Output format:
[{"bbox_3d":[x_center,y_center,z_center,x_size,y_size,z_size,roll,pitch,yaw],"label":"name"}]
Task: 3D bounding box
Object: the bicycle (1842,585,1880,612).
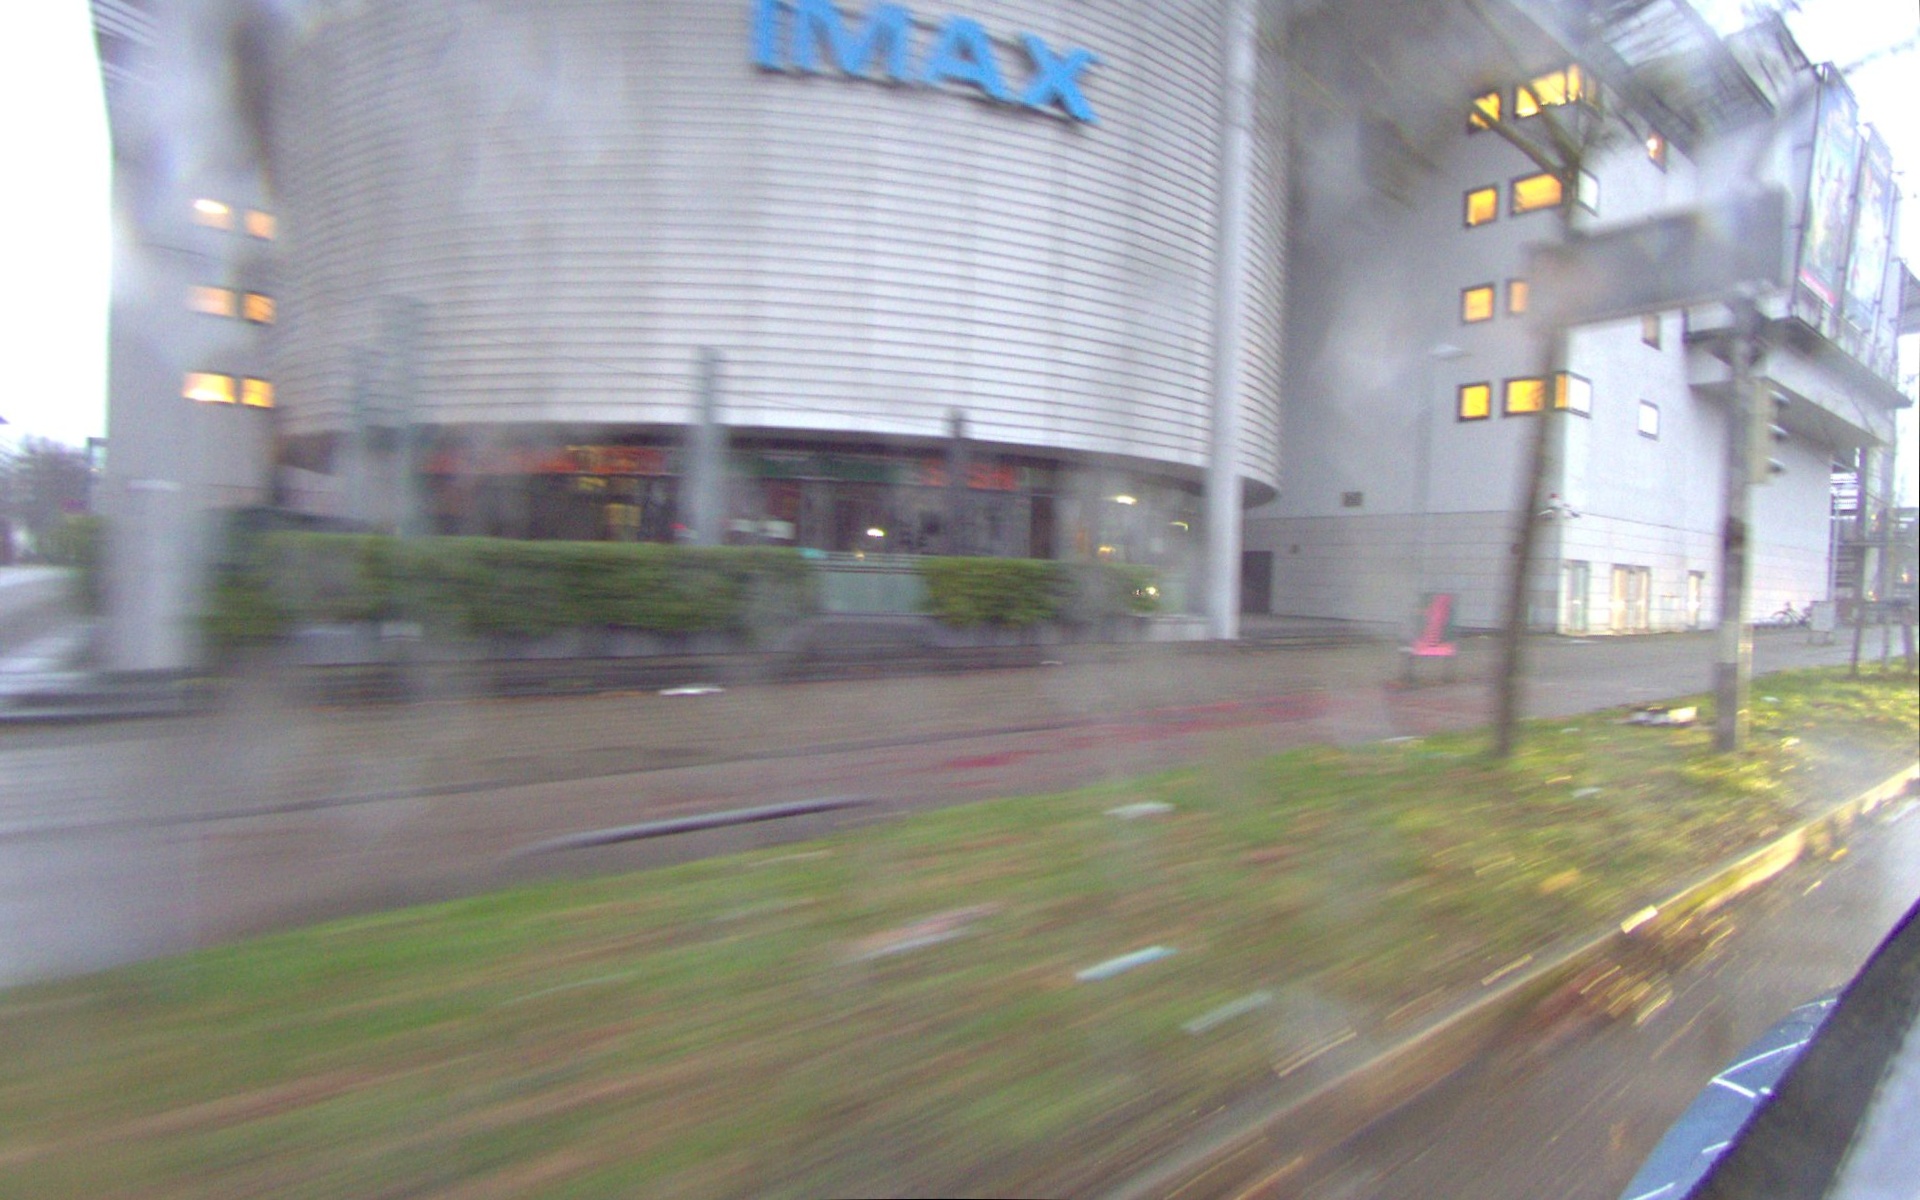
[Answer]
[{"bbox_3d":[43.585,-0.070,48.961,1.708,1.301,0.412,0,-1,-11],"label":"bicycle"}]
